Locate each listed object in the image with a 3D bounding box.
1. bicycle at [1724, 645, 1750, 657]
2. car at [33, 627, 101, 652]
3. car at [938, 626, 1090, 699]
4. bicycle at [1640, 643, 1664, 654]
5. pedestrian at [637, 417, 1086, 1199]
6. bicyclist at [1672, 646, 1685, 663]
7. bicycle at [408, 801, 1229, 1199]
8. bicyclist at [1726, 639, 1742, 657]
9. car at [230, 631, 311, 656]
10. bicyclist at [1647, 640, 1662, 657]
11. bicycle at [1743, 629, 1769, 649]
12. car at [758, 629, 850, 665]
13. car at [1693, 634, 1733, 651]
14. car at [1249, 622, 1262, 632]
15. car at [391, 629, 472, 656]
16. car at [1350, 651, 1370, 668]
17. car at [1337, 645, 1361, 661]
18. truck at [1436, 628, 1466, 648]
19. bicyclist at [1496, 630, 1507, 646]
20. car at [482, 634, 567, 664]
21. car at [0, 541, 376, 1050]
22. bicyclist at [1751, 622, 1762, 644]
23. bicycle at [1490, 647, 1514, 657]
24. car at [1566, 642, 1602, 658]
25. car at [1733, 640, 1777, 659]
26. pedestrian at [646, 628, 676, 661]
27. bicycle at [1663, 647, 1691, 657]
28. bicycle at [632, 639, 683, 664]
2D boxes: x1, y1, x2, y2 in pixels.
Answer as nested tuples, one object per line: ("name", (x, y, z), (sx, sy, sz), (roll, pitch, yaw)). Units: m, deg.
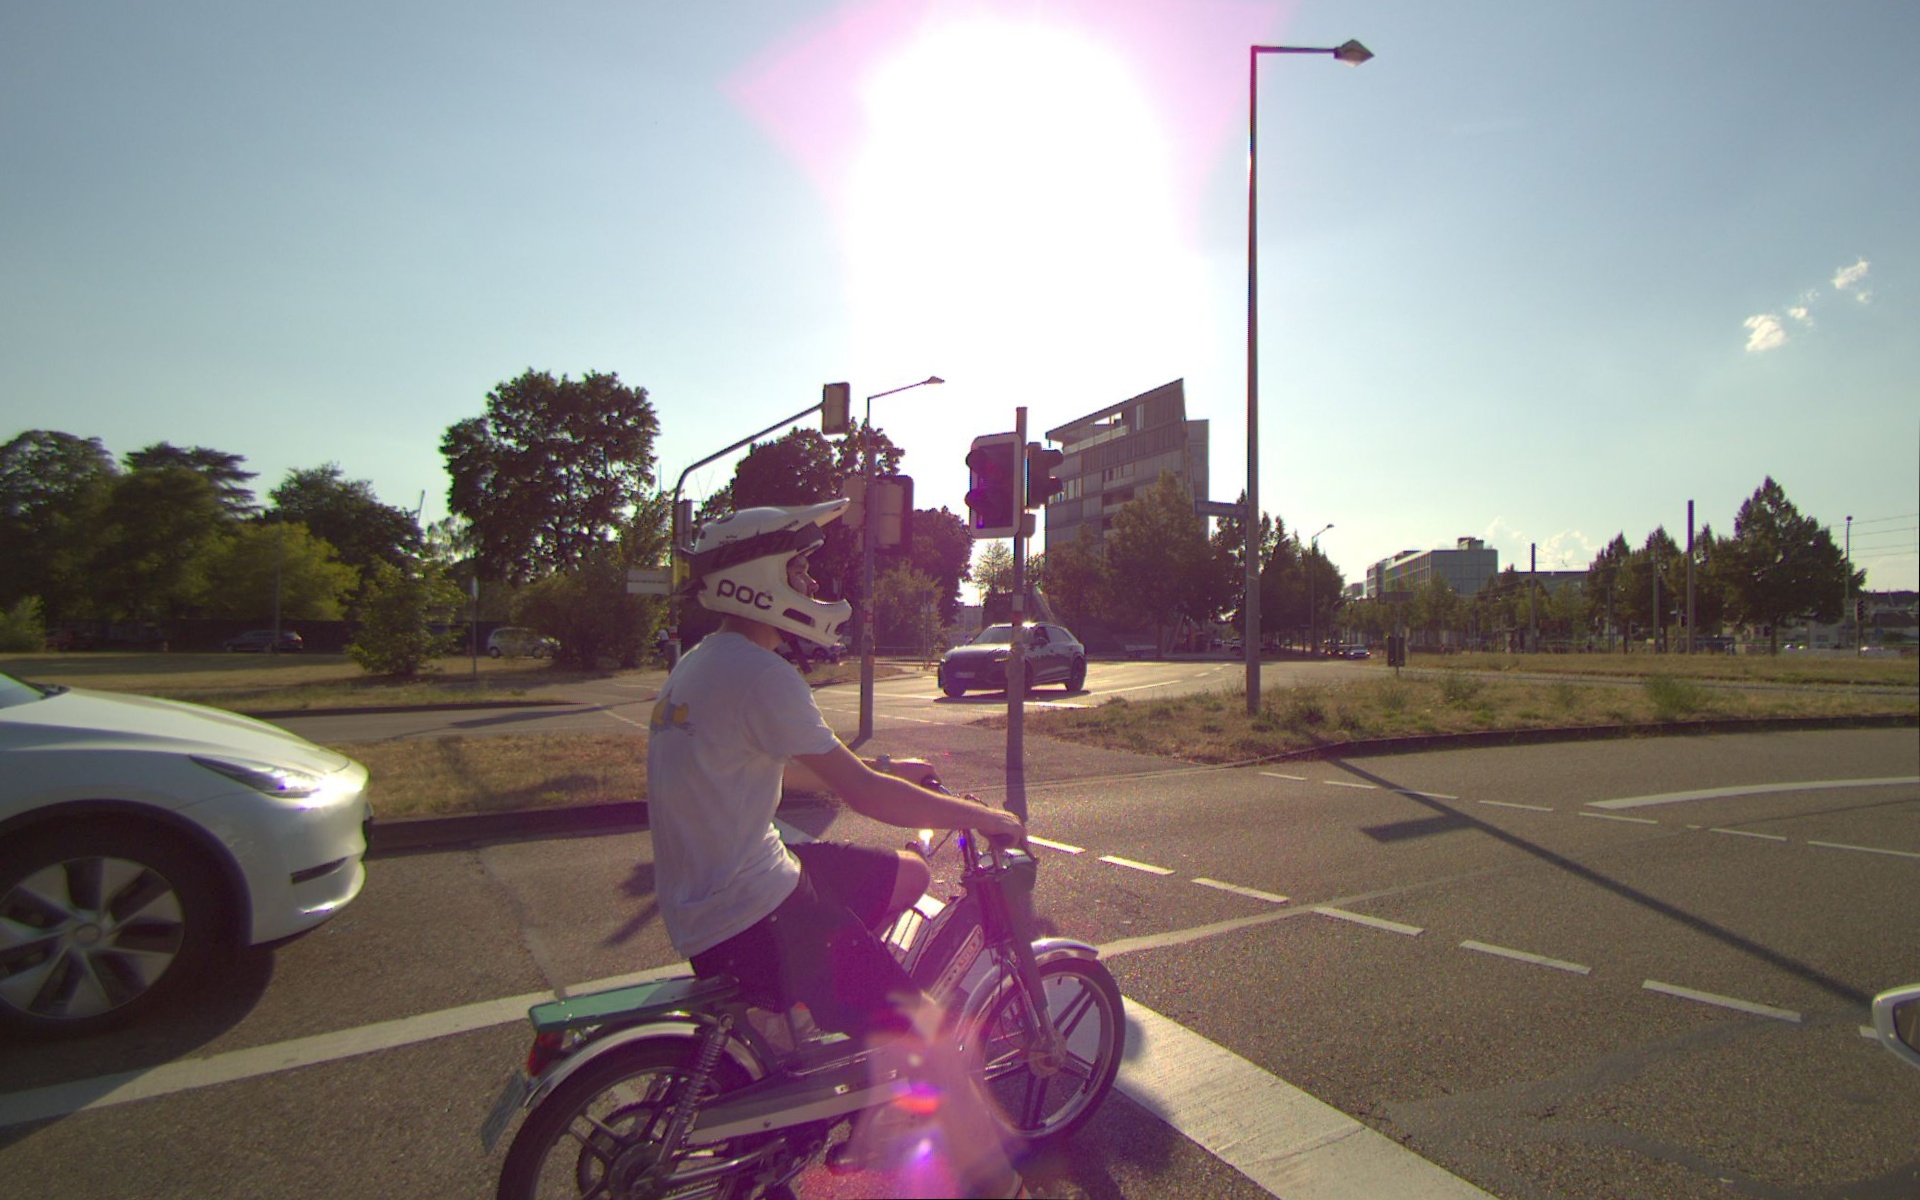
("bicycle", (59.870, 3.934, 77.409), (1.592, 0.871, 0.543), (-1, -2, 35))
("car", (-58.823, 2.581, 66.151), (3.308, 1.567, 1.584), (0, -2, 9))
("car", (1.378, 1.414, 23.577), (1.624, 1.532, 4.635), (-2, -3, 30))
("bicycle", (56.322, 3.958, 81.710), (1.592, 0.871, 0.543), (-1, -2, 35))
("pedestrian", (-0.241, 0.448, 2.337), (0.844, 1.539, 0.653), (1, -2, -30))
("bicyclist", (57.259, 4.330, 80.039), (0.641, 1.343, 0.519), (0, -1, 14))
("bicycle", (-0.218, 1.017, 2.311), (1.834, 0.887, 0.475), (1, -2, -31))
("bicyclist", (59.752, 3.678, 77.546), (0.941, 1.375, 0.691), (-1, -2, 34))
("car", (-43.392, 2.726, 63.223), (4.312, 1.545, 1.657), (0, -2, 13))
("bicyclist", (56.446, 3.945, 81.664), (0.941, 1.375, 0.691), (-1, -2, 34))
("bicycle", (62.127, 3.032, 78.372), (1.517, 1.493, 0.478), (-1, -2, 31))
("car", (-7.657, 2.281, 49.352), (4.115, 1.695, 1.777), (0, -2, 15))
("car", (89.108, 4.998, 118.941), (1.960, 2.040, 4.002), (0, -2, 5))
("car", (47.085, 4.304, 160.049), (1.753, 1.576, 4.002), (2, 0, 14))
("car", (-32.044, 2.563, 60.952), (4.312, 1.545, 1.657), (0, -2, 13))
("car", (36.590, 5.439, 91.913), (1.455, 1.495, 3.301), (0, -2, 17))
("car", (38.384, 5.218, 99.143), (1.960, 1.495, 4.002), (0, -2, 17))
("truck", (81.116, 6.275, 166.047), (3.074, 3.273, 7.178), (0, -2, 14))
("bicyclist", (45.236, 3.200, 83.899), (0.641, 1.343, 0.519), (0, -1, 14))
("car", (-22.910, 2.551, 52.900), (3.863, 1.545, 1.658), (0, -2, 11))
("car", (-4.588, 0.591, 3.168), (4.630, 1.620, 1.724), (2, -1, -35))
("bicyclist", (62.164, 2.605, 78.382), (0.598, 1.694, 0.477), (0, -2, 30))
("bicycle", (45.226, 4.334, 83.849), (1.687, 0.754, 0.481), (0, -2, 14))
("car", (53.328, 4.244, 85.861), (2.628, 1.278, 1.112), (-1, -2, 32))
("car", (87.764, 5.448, 110.950), (1.960, 2.040, 4.002), (0, -2, 5))
("pedestrian", (-14.189, 2.087, 47.644), (1.126, 1.527, 0.761), (-1, -2, 27))
("bicycle", (57.163, 4.155, 80.088), (1.687, 0.754, 0.481), (0, -2, 14))
("bicycle", (-14.379, 2.439, 47.733), (2.551, 1.111, 0.728), (-1, -2, 27))
